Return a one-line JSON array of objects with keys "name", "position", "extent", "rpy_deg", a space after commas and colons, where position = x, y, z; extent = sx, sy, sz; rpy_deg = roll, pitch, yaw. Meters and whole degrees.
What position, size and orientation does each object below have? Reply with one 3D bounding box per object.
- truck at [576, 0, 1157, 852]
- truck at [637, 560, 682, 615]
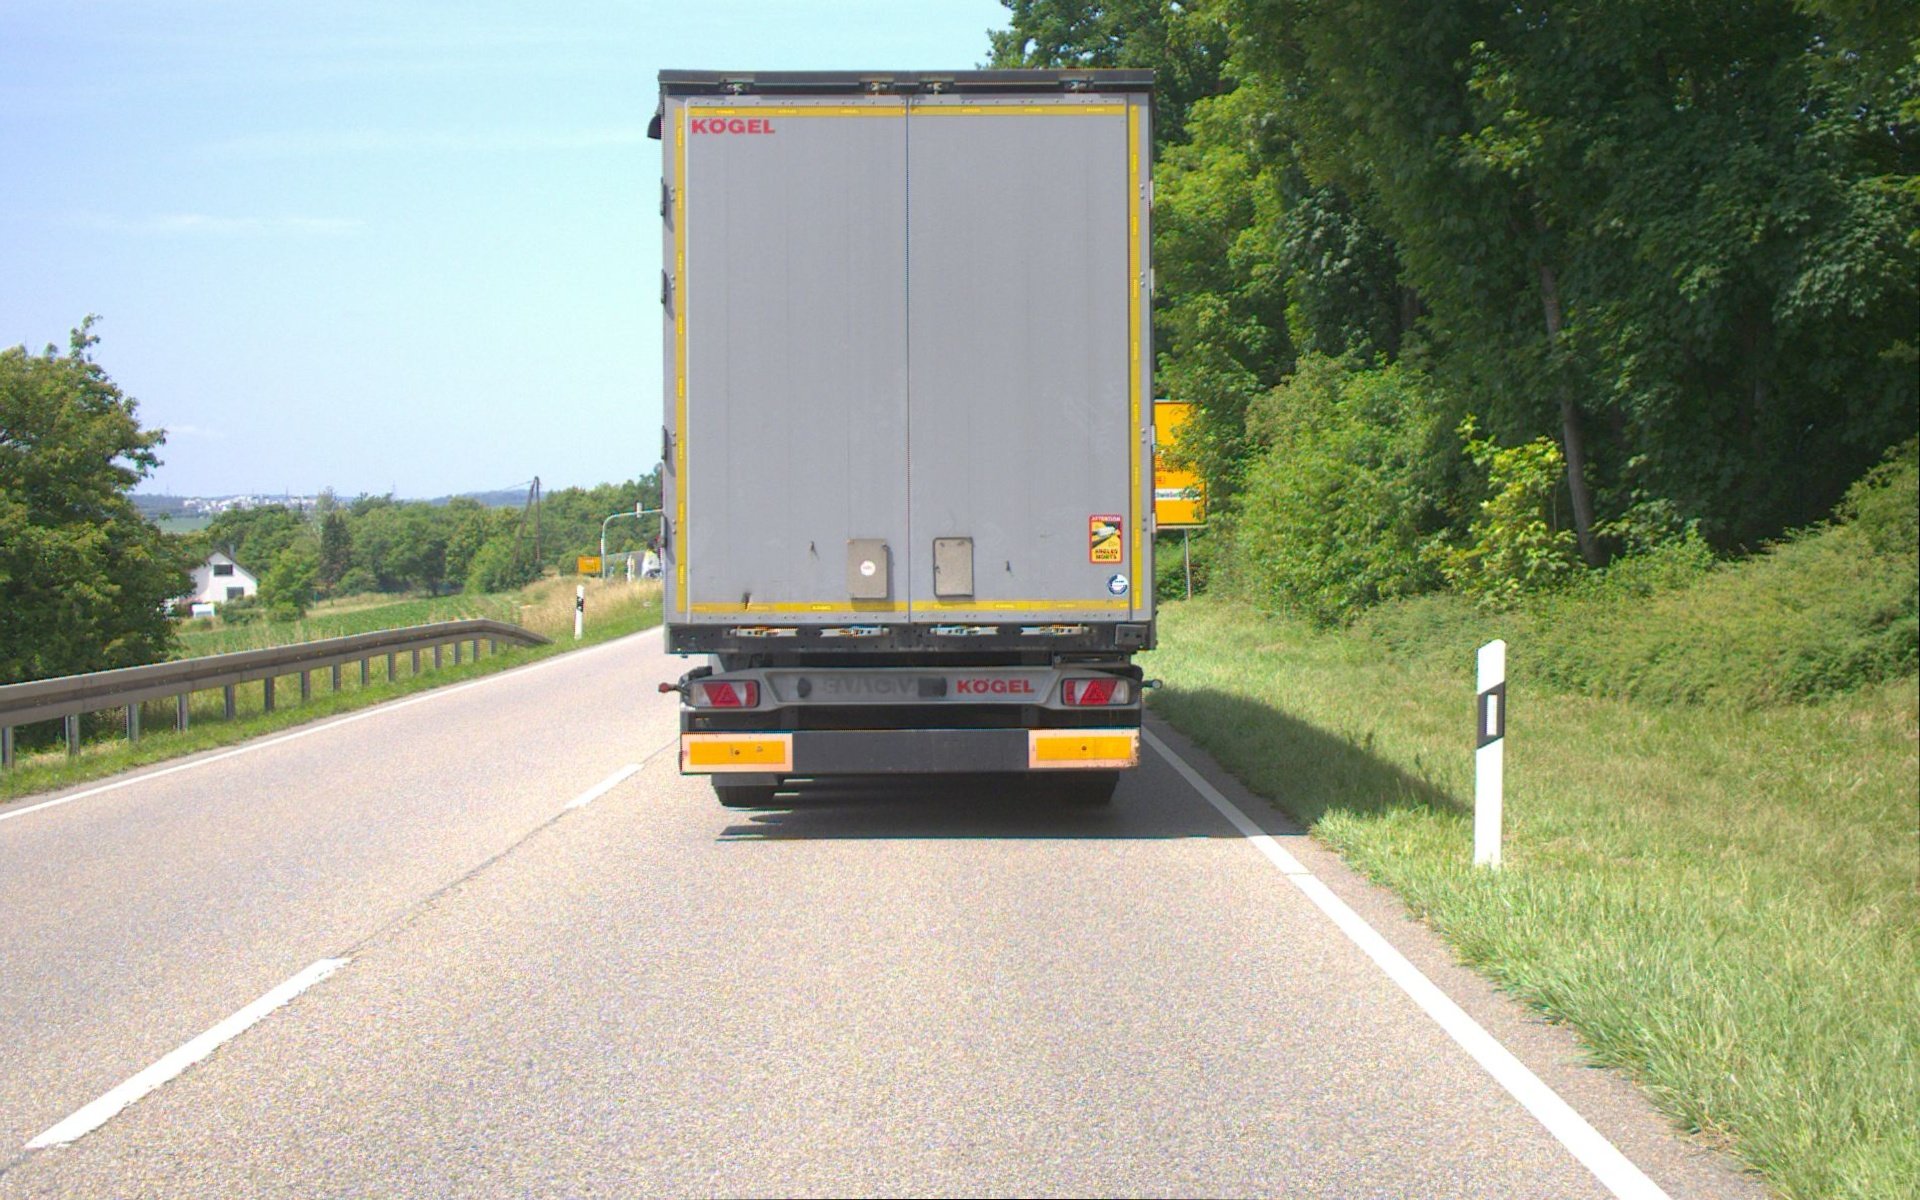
[{"name": "truck", "position": [-0.475, -1.003, 21.644], "extent": [2.907, 4.395, 8.860], "rpy_deg": [0, 1, 0]}, {"name": "truck", "position": [-20.745, -0.819, 237.504], "extent": [2.756, 3.564, 11.066], "rpy_deg": [-3, 0, -4]}]
